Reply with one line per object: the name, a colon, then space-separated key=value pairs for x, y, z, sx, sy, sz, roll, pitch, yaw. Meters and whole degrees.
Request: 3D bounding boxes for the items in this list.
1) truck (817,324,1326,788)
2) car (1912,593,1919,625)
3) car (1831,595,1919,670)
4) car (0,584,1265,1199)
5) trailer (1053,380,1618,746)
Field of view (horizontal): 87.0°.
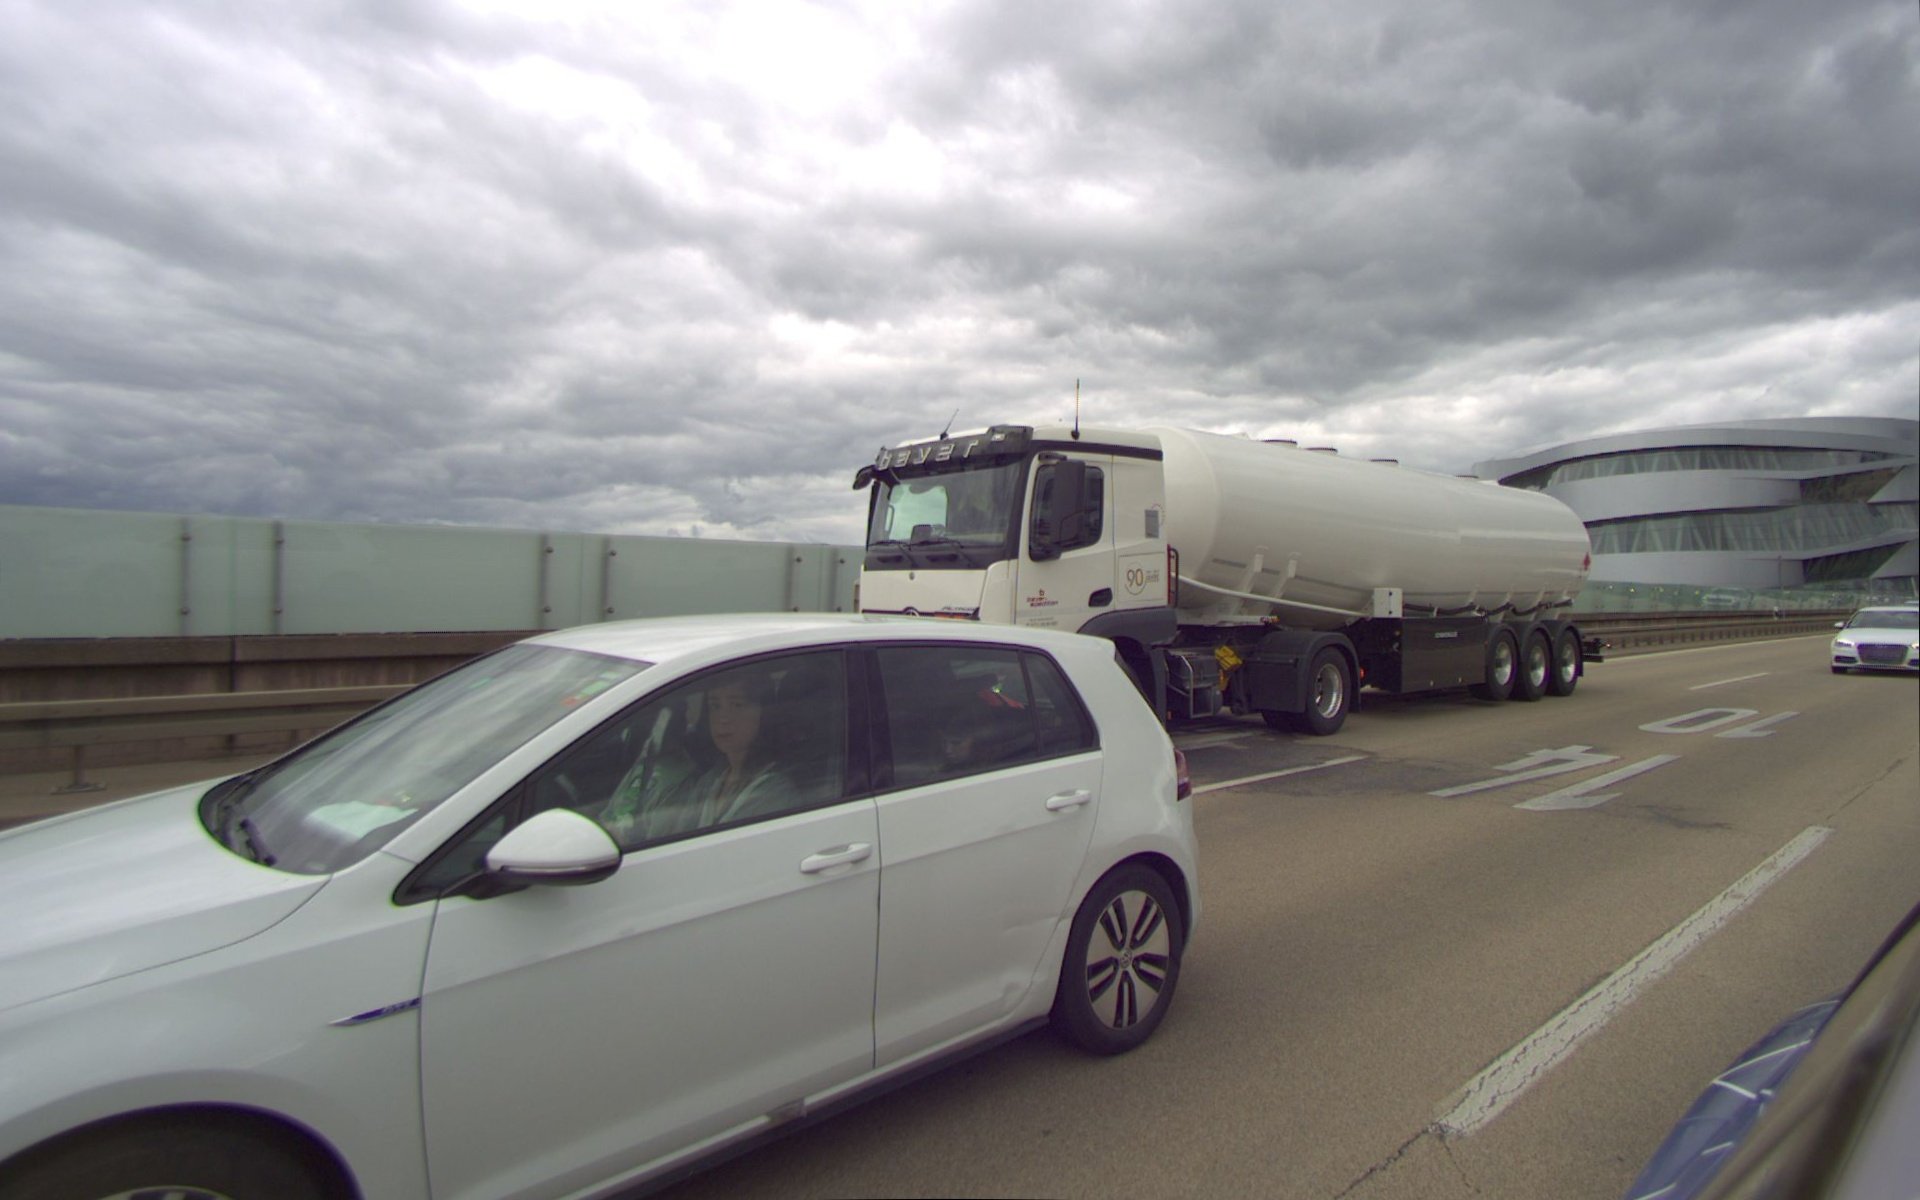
truck: x=1.283 y=-0.372 z=10.350 sx=4.818 sy=3.558 sz=2.636 roll=0 pitch=1 yaw=-41
car: x=51.262 y=0.464 z=52.934 sx=3.563 sy=1.654 sz=1.784 roll=0 pitch=1 yaw=-40
car: x=20.144 y=0.653 z=21.475 sx=3.861 sy=1.470 sz=1.848 roll=0 pitch=0 yaw=-38
car: x=-0.959 y=0.714 z=3.040 sx=4.001 sy=1.470 sz=1.757 roll=0 pitch=1 yaw=-42
trailer: x=6.117 y=-0.404 z=14.540 sx=11.023 sy=3.588 sz=2.655 roll=0 pitch=0 yaw=-41
